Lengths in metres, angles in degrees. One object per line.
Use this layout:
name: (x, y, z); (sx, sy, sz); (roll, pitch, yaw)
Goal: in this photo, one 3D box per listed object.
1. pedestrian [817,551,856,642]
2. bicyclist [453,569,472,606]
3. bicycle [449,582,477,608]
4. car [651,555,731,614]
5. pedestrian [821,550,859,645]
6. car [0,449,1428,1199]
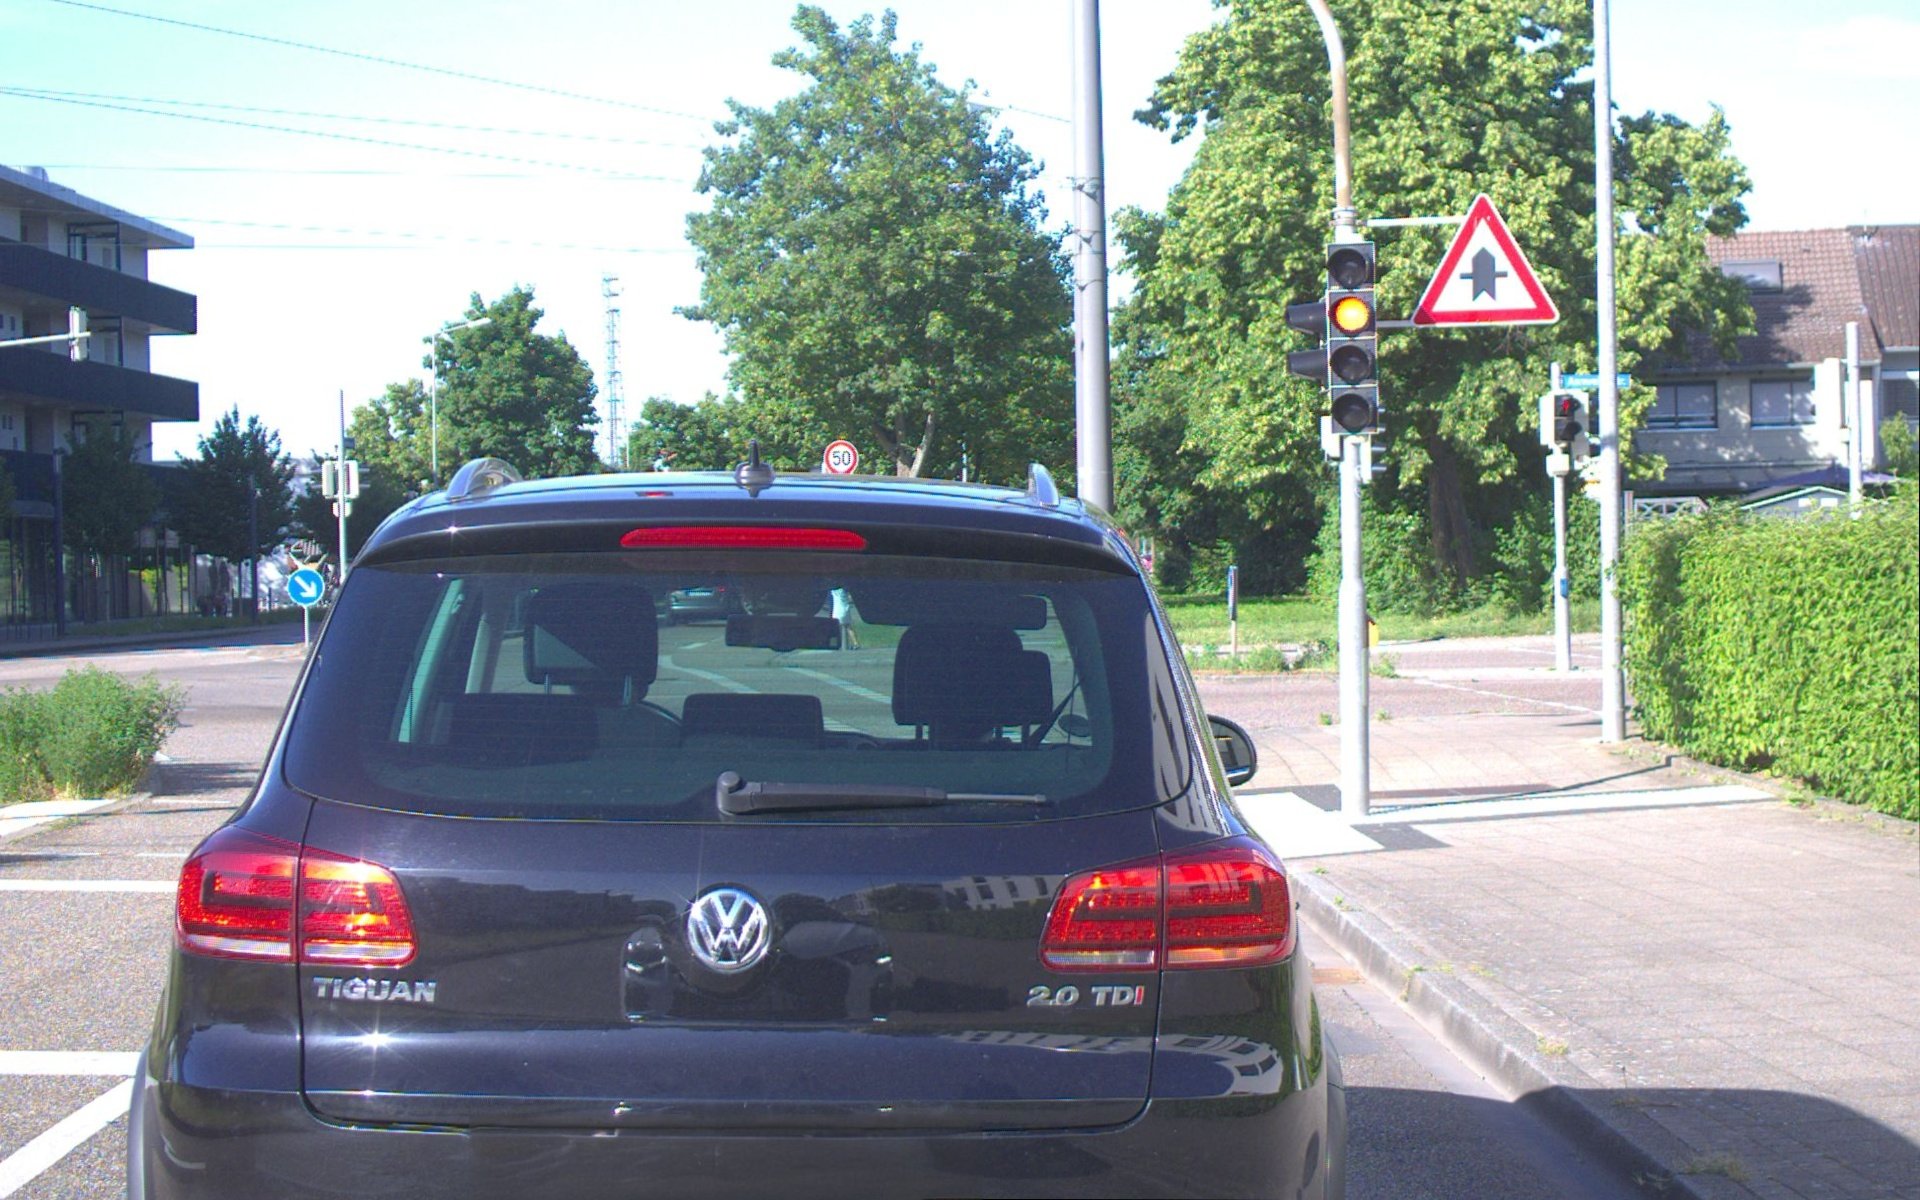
pedestrian: (-2.121, -0.069, 59.093); (0.603, 1.559, 0.529); (0, 1, 4)
bicyclist: (-16.534, -0.407, 114.270); (0.474, 1.219, 0.712); (0, 1, 3)
bicycle: (-16.531, -0.176, 114.339); (0.496, 0.845, 2.078); (0, 1, 3)
car: (-6.524, -0.403, 83.732); (1.751, 1.382, 4.000); (0, 1, -2)
pedestrian: (-2.090, -0.051, 59.786); (0.603, 1.634, 0.529); (0, 1, 4)
car: (-0.412, 0.597, 6.470); (1.905, 1.637, 4.000); (0, 1, -2)
